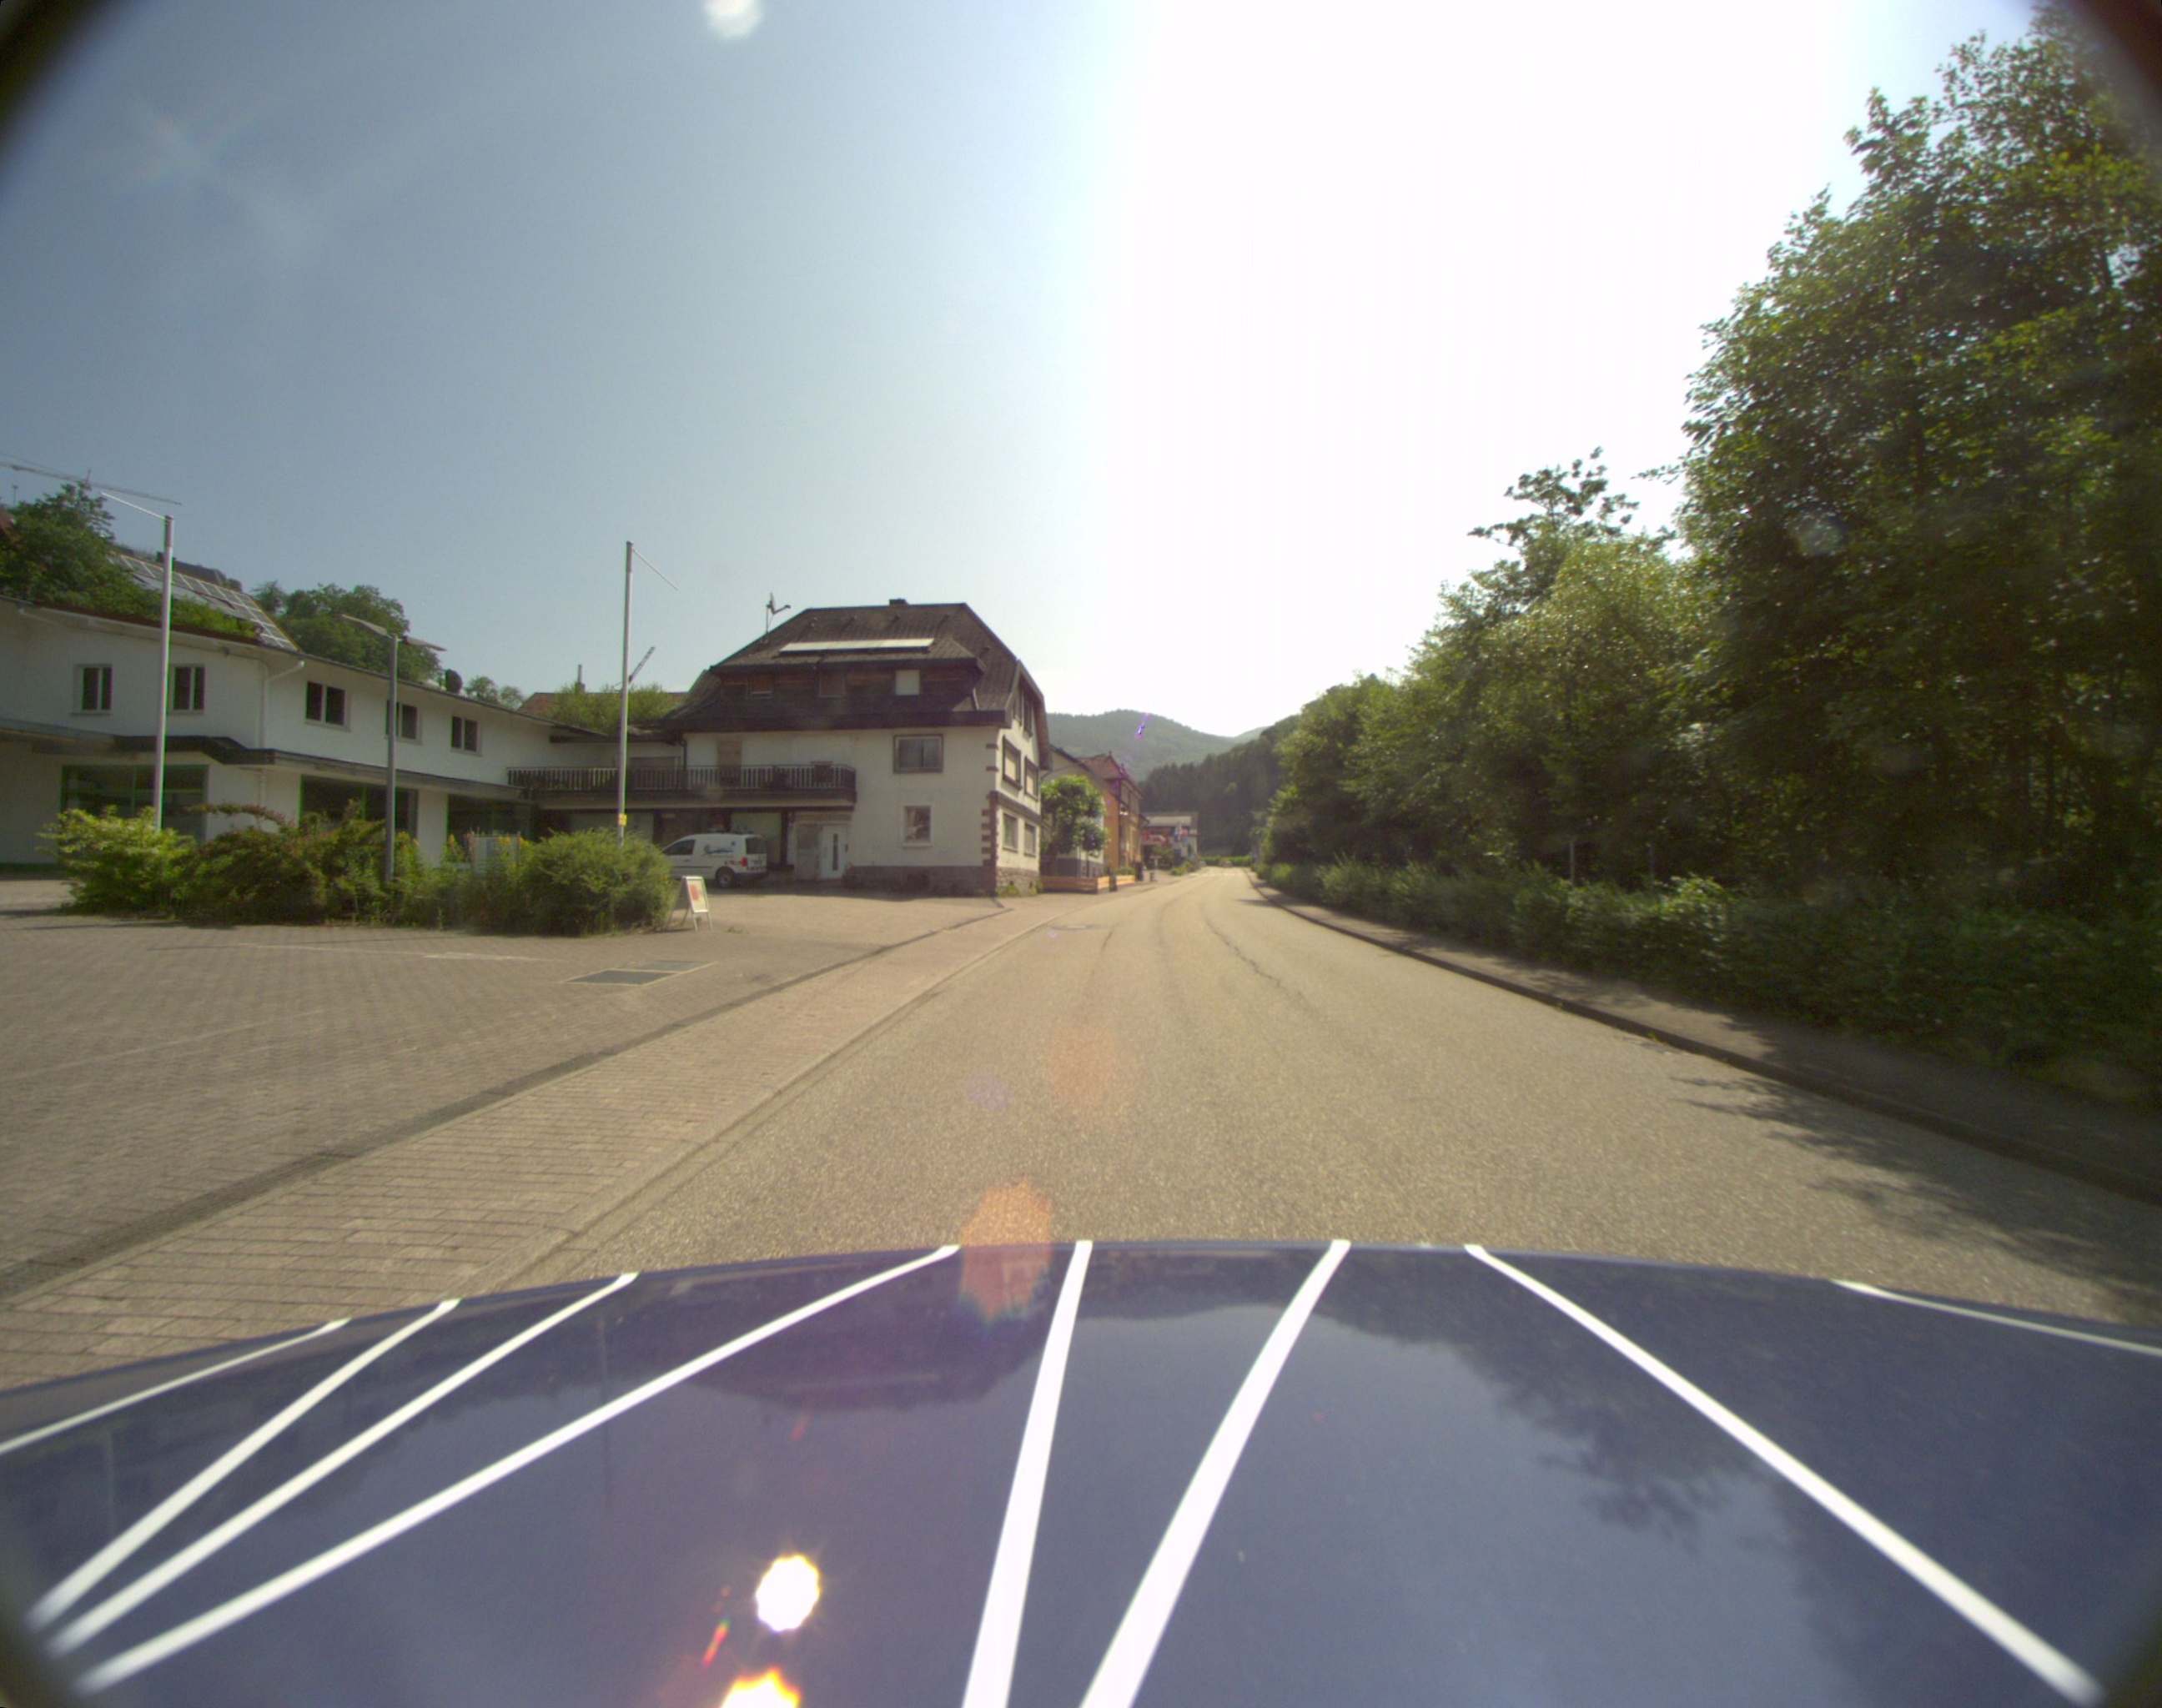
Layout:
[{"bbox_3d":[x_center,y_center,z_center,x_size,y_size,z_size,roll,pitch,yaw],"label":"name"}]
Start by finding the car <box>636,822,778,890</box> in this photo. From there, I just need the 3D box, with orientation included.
[{"bbox_3d":[-12.872,0.050,26.256,4.015,1.973,1.636,4,2,3],"label":"car"}]

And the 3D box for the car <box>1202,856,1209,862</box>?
[{"bbox_3d":[32.878,1.346,201.280,1.607,1.398,3.830,2,1,12],"label":"car"}]

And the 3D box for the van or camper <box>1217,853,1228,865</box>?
[{"bbox_3d":[35.995,1.210,193.228,2.362,2.935,8.060,1,0,12],"label":"van or camper"}]

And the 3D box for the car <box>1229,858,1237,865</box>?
[{"bbox_3d":[35.393,1.734,176.933,1.592,1.473,3.761,1,0,13],"label":"car"}]

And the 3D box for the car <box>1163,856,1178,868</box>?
[{"bbox_3d":[13.292,1.134,113.006,1.694,1.568,3.915,4,1,13],"label":"car"}]
